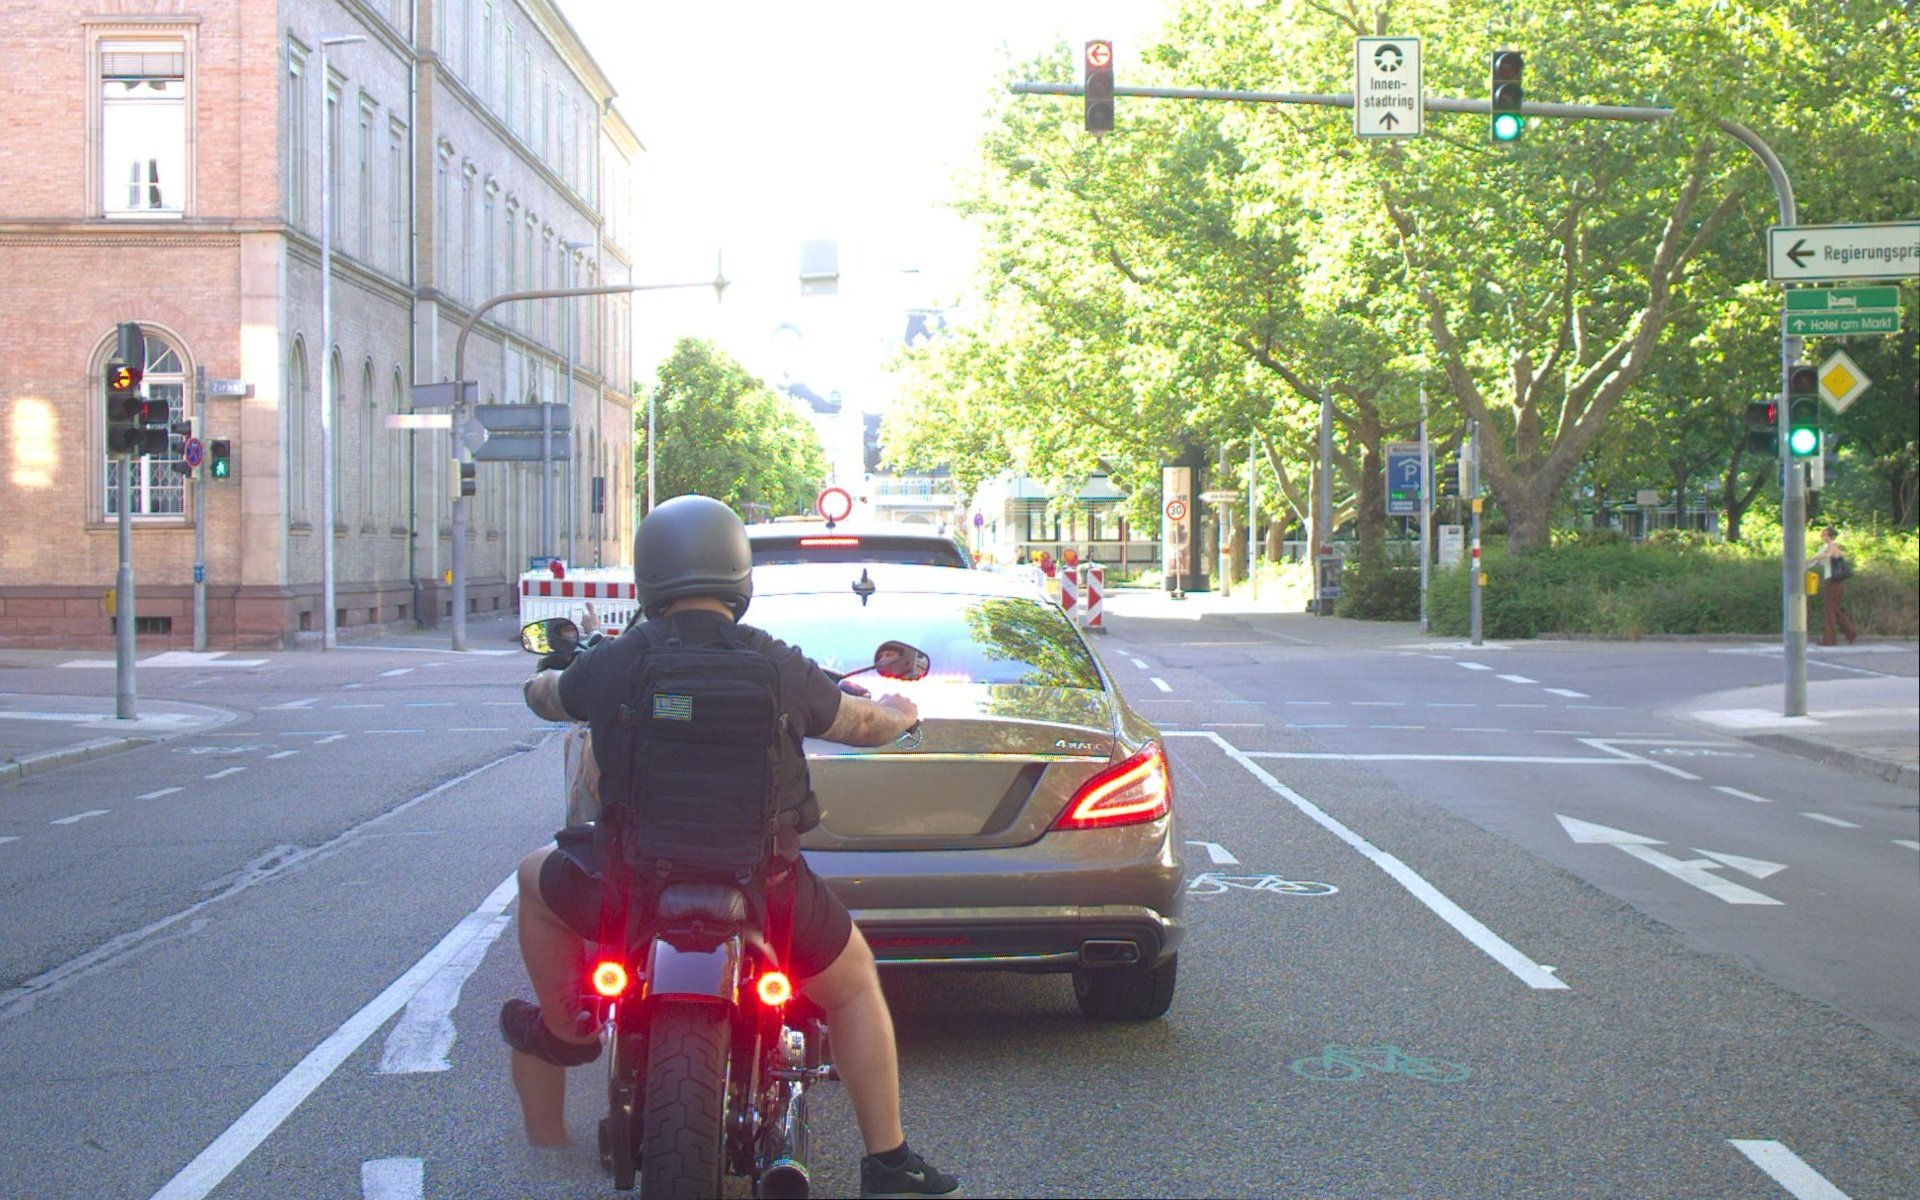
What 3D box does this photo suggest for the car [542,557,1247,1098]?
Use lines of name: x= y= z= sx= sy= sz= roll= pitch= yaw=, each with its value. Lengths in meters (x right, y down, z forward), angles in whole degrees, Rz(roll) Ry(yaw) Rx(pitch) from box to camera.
car: x=-0.434 y=0.588 z=11.639 sx=1.869 sy=1.439 sz=4.431 roll=0 pitch=1 yaw=-8

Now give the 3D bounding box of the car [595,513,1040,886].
car: x=-0.668 y=0.430 z=17.561 sx=1.993 sy=1.660 sz=4.000 roll=1 pitch=1 yaw=-1

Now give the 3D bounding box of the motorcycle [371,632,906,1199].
motorcycle: x=-0.614 y=0.740 z=7.580 sx=0.980 sy=1.271 sz=2.407 roll=0 pitch=1 yaw=-1

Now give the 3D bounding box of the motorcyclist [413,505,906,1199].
motorcyclist: x=-0.611 y=0.585 z=7.518 sx=0.980 sy=1.573 sz=1.248 roll=0 pitch=1 yaw=-1

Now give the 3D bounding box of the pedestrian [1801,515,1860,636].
pedestrian: x=12.876 y=-0.367 z=50.841 sx=0.678 sy=1.766 sz=0.616 roll=1 pitch=0 yaw=29
